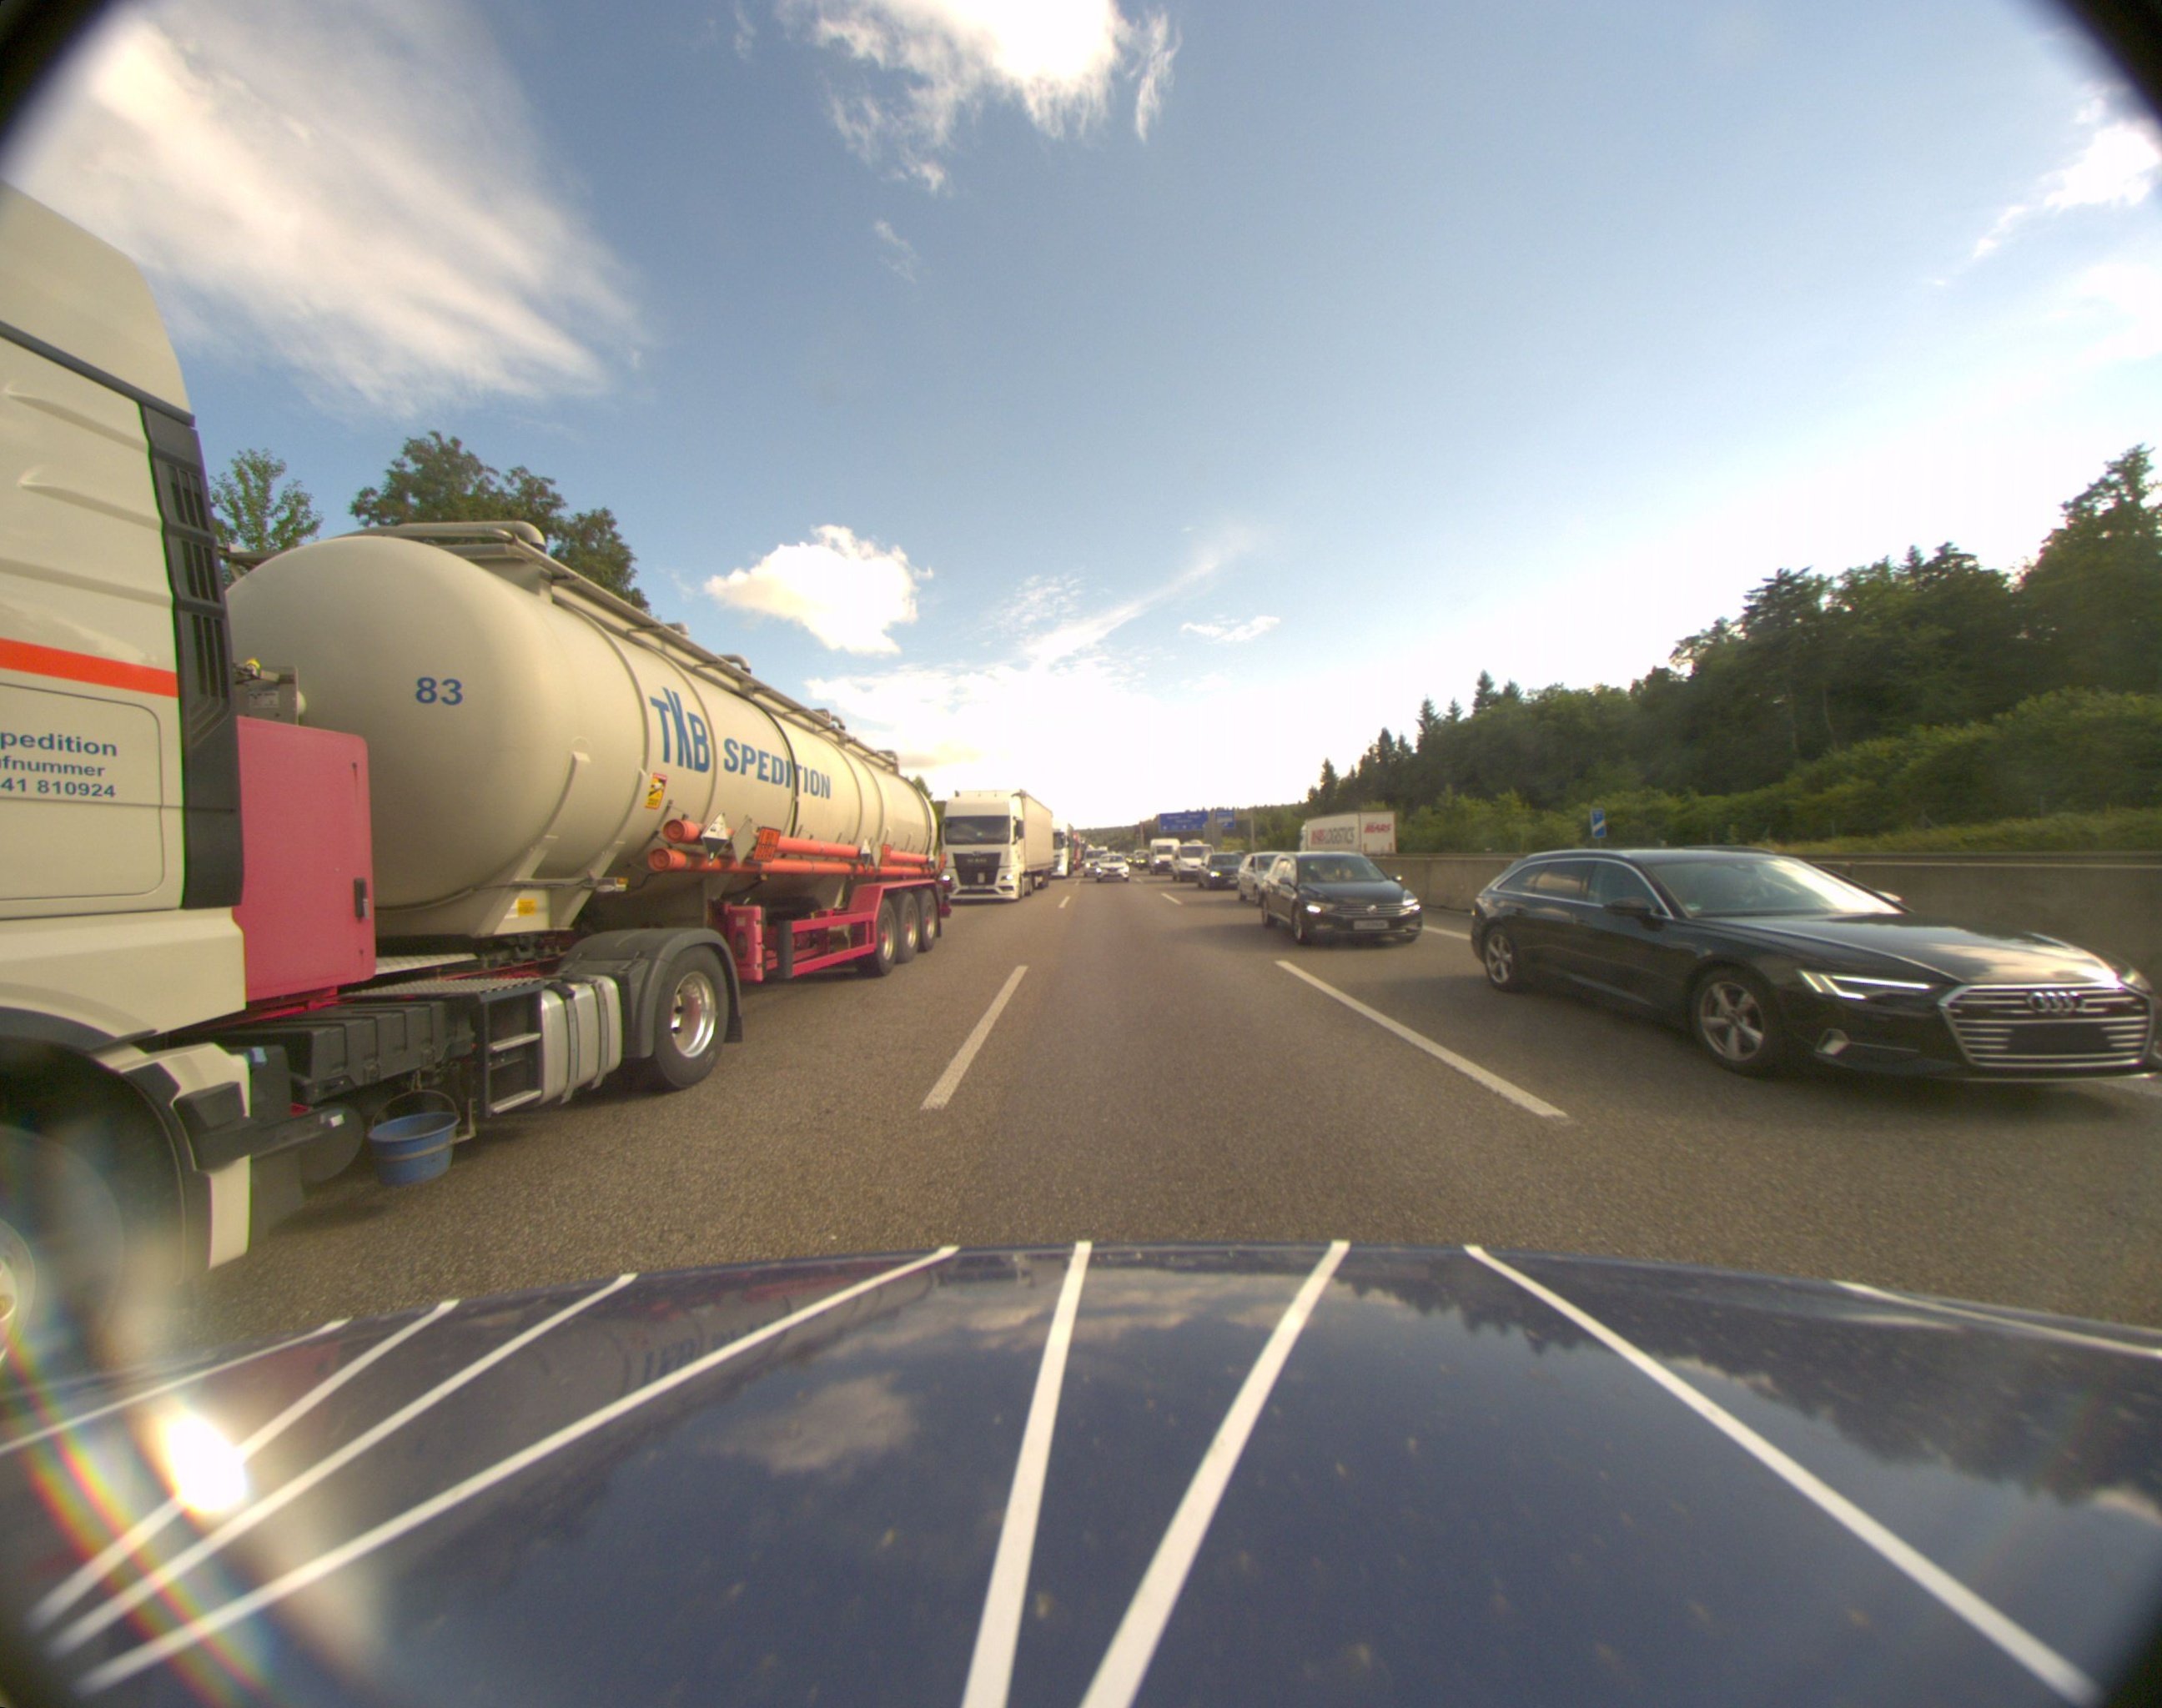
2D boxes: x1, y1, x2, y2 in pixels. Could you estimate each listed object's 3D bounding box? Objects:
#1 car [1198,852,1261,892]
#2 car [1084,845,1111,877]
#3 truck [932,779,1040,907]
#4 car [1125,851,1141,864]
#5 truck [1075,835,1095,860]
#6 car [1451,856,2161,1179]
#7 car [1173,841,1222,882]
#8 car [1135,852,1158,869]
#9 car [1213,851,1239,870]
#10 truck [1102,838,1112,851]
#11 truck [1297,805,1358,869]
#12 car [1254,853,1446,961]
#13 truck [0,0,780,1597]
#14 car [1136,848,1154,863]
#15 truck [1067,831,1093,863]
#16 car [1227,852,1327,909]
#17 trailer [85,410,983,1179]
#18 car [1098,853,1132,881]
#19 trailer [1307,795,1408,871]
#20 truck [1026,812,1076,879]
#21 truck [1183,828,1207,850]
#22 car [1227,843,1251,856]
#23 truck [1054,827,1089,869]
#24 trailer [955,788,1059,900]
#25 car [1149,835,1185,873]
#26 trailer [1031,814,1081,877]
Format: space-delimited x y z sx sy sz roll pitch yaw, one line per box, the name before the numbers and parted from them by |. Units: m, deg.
car | 5.879 0.687 30.515 1.809 1.423 3.994 -2 0 2
car | 1.179 0.460 53.934 1.809 2.052 4.770 -2 0 2
truck | -3.228 -0.372 27.377 2.840 4.048 5.708 -2 1 2
car | 6.971 0.457 101.243 1.920 1.535 3.811 -2 0 2
truck | 0.844 -1.263 136.193 2.840 4.178 12.045 -2 1 3
car | 5.022 0.802 6.084 1.887 1.463 4.852 -2 0 2
car | 6.068 0.376 40.074 1.947 1.953 4.848 -2 0 2
car | 5.968 0.578 69.235 1.809 1.423 3.660 -2 0 2
car | 15.073 0.649 79.004 1.857 1.799 4.323 -2 0 1
truck | 8.390 -3.154 246.098 2.840 4.178 12.045 -2 1 3
truck | 21.526 -1.486 66.649 3.047 5.223 6.882 -2 1 1
car | 4.352 0.757 13.110 1.915 1.469 4.569 -2 0 4
truck | -3.915 -0.260 2.951 2.809 4.020 5.904 -2 1 2
car | 7.764 0.149 93.096 1.920 1.785 3.811 -2 0 2
truck | -0.090 -1.038 107.874 2.840 4.178 12.045 -2 1 3
car | 5.620 0.691 22.414 1.809 1.423 4.666 -2 0 2
trailer | -3.638 -0.322 9.633 2.805 4.003 11.182 -2 1 2
car | 1.917 0.700 43.546 1.809 1.488 4.666 -1 0 2
trailer | 21.409 -1.560 60.134 3.050 5.250 13.833 -2 1 1
truck | -1.939 -0.563 51.631 2.841 4.178 5.708 -2 0 2
truck | 24.096 -3.108 161.322 2.939 4.329 13.909 -2 1 1
car | 18.246 -0.492 88.025 1.959 1.419 4.323 -2 0 1
truck | -0.858 -0.682 82.890 2.840 4.178 12.045 -2 1 3
trailer | -2.924 -0.429 34.860 2.832 4.047 13.372 -2 1 2
car | 6.056 -0.009 54.304 2.054 2.557 5.861 -1 0 2
trailer | -1.702 -0.611 58.700 2.841 4.177 13.613 -2 0 2
